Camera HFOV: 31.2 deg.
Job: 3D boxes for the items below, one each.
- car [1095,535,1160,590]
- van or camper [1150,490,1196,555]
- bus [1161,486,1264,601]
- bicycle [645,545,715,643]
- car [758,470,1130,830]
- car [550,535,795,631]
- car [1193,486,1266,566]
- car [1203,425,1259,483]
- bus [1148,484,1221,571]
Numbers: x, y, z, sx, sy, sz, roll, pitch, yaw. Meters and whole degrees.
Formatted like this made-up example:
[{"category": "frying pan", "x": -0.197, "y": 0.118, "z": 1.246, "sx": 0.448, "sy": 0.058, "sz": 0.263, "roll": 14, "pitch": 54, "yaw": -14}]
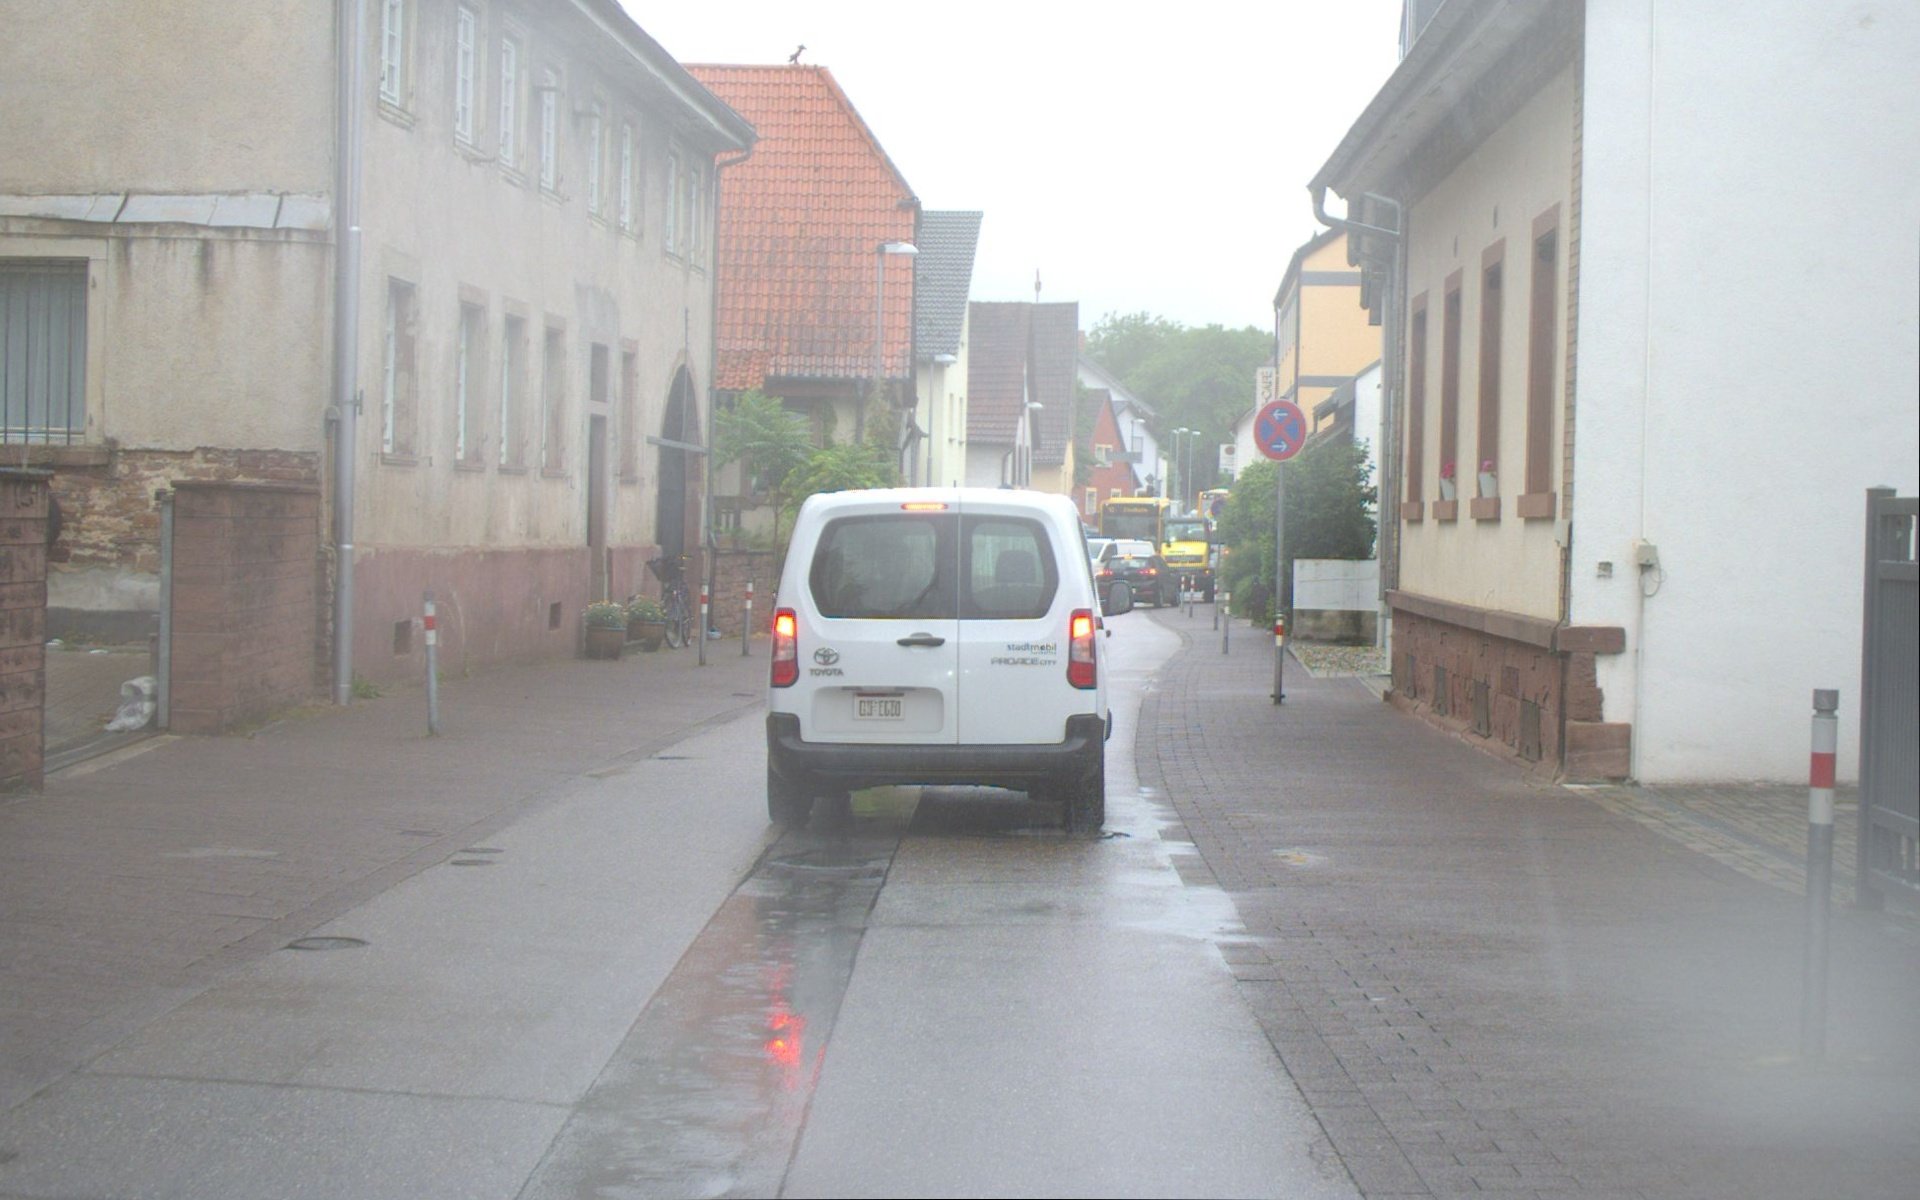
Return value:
[{"category": "car", "x": 4.523, "y": -0.996, "z": 92.362, "sx": 1.562, "sy": 1.367, "sz": 3.584, "roll": 3, "pitch": 0, "yaw": 5}, {"category": "van or camper", "x": 10.100, "y": -3.650, "z": 162.843, "sx": 1.835, "sy": 2.915, "sz": 5.362, "roll": 3, "pitch": 0, "yaw": 6}, {"category": "bus", "x": 7.592, "y": -1.655, "z": 103.641, "sx": 2.794, "sy": 3.169, "sz": 8.176, "roll": 3, "pitch": 0, "yaw": 4}, {"category": "bicycle", "x": -3.486, "y": -0.071, "z": 42.939, "sx": 0.483, "sy": 1.176, "sz": 1.835, "roll": 3, "pitch": 0, "yaw": 6}, {"category": "car", "x": 0.017, "y": 0.245, "z": 19.390, "sx": 1.795, "sy": 1.812, "sz": 4.101, "roll": 0, "pitch": 0, "yaw": 4}, {"category": "car", "x": -4.446, "y": -0.277, "z": 53.421, "sx": 3.528, "sy": 1.371, "sz": 1.594, "roll": 2, "pitch": 1, "yaw": 7}, {"category": "car", "x": 7.264, "y": -1.976, "z": 92.892, "sx": 1.827, "sy": 2.007, "sz": 3.693, "roll": 3, "pitch": 0, "yaw": 4}, {"category": "car", "x": 10.407, "y": -5.586, "z": 131.842, "sx": 1.994, "sy": 2.007, "sz": 3.999, "roll": 3, "pitch": 0, "yaw": 5}, {"category": "bus", "x": 9.416, "y": -2.984, "z": 143.679, "sx": 2.794, "sy": 3.317, "sz": 8.176, "roll": 3, "pitch": 0, "yaw": 4}]
